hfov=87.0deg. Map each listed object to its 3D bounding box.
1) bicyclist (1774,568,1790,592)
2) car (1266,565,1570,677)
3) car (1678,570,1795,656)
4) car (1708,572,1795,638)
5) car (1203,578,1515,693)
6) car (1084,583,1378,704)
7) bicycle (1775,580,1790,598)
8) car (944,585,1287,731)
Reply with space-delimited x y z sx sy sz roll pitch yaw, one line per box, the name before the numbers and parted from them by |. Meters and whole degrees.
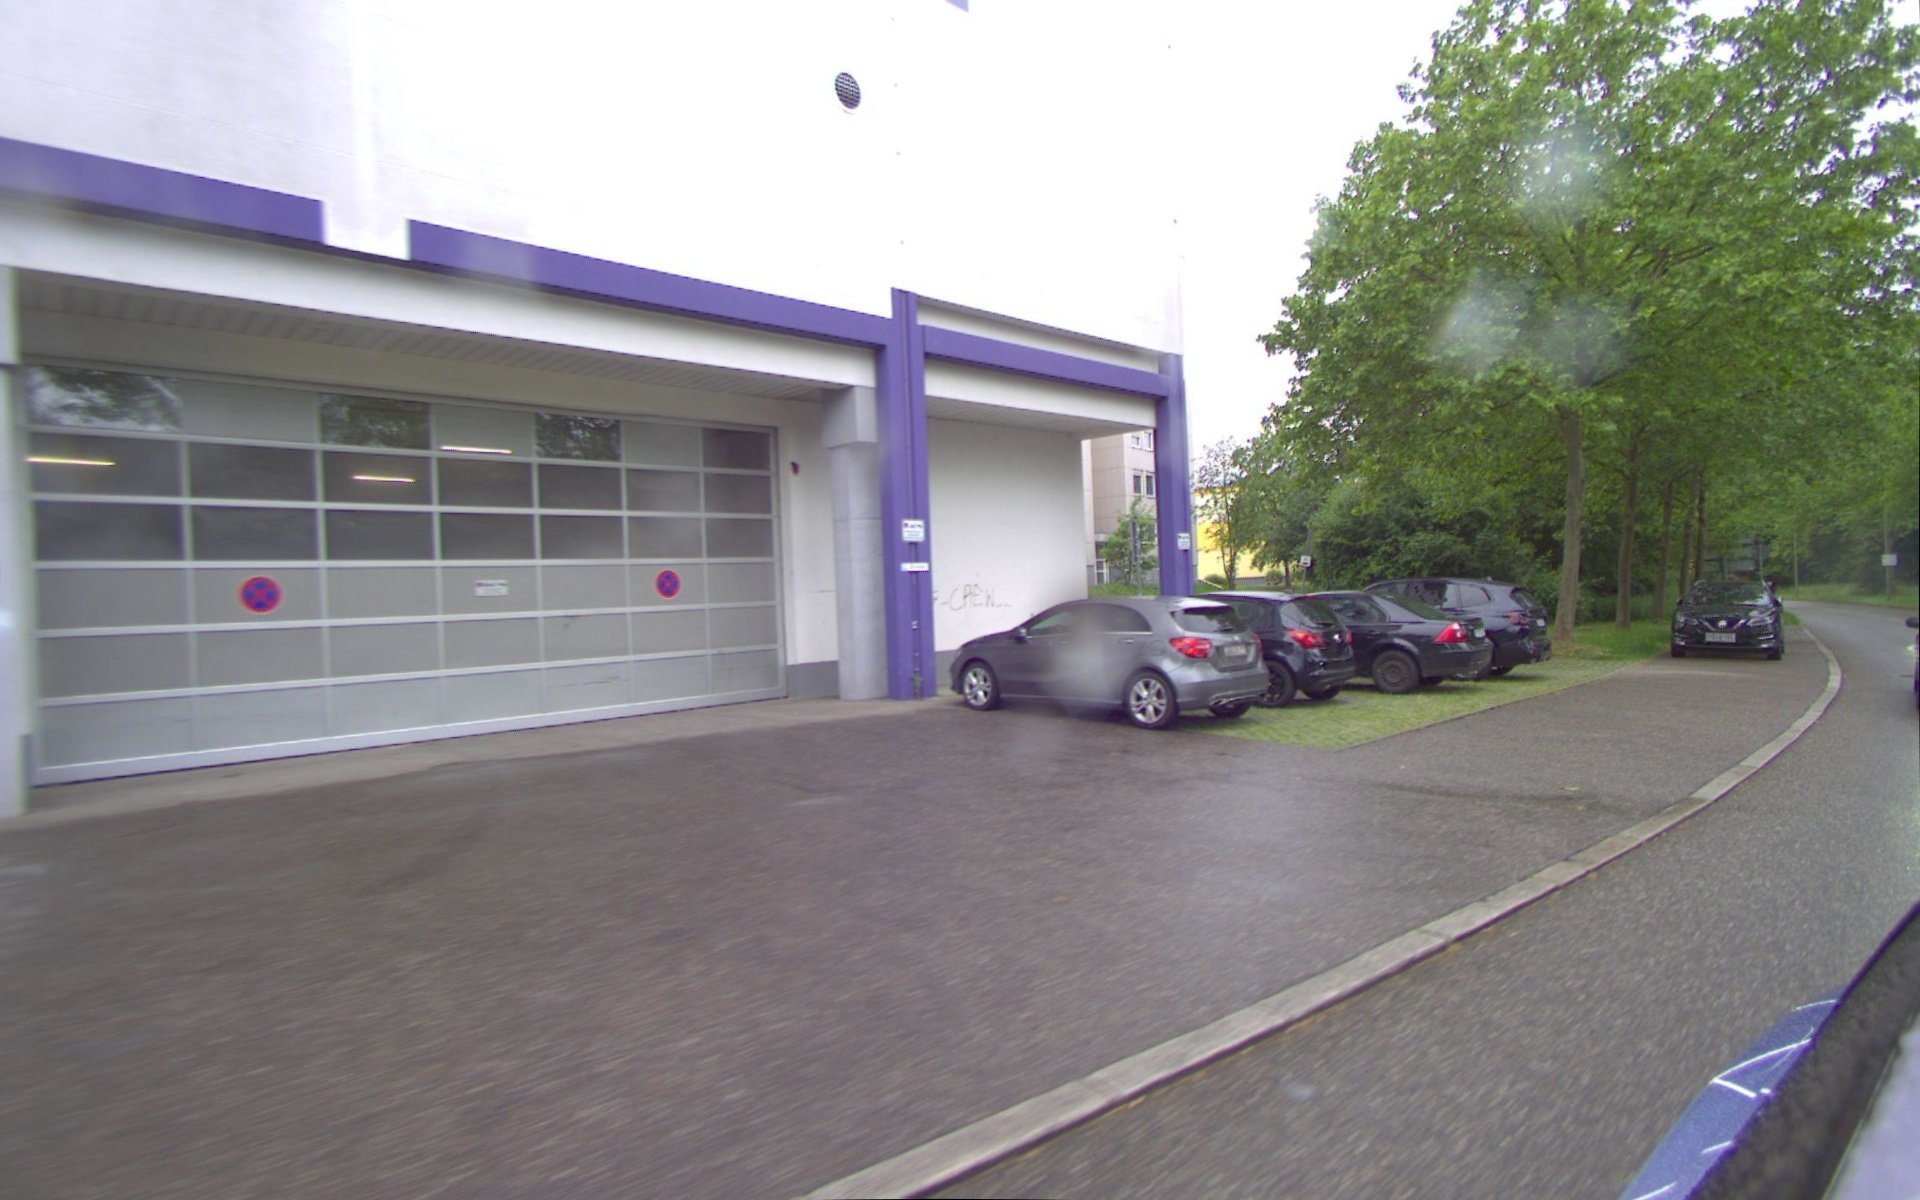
bicyclist | 54.296 -1.332 66.841 0.693 1.516 0.791 -3 -1 32
car | 7.775 0.347 17.476 4.467 1.702 1.741 -1 -1 42
car | 16.622 0.196 21.582 1.799 1.622 4.308 0 1 40
car | 21.386 0.059 27.297 1.725 1.611 4.193 1 2 39
car | 6.012 0.489 15.530 4.103 1.496 1.696 -1 1 42
car | 3.706 0.552 14.197 3.616 1.471 1.694 -1 -1 44
bicycle | 54.368 -0.714 66.864 0.450 1.148 1.813 -3 -1 31
car | 1.754 0.608 12.398 1.692 1.471 3.942 -2 1 -43
